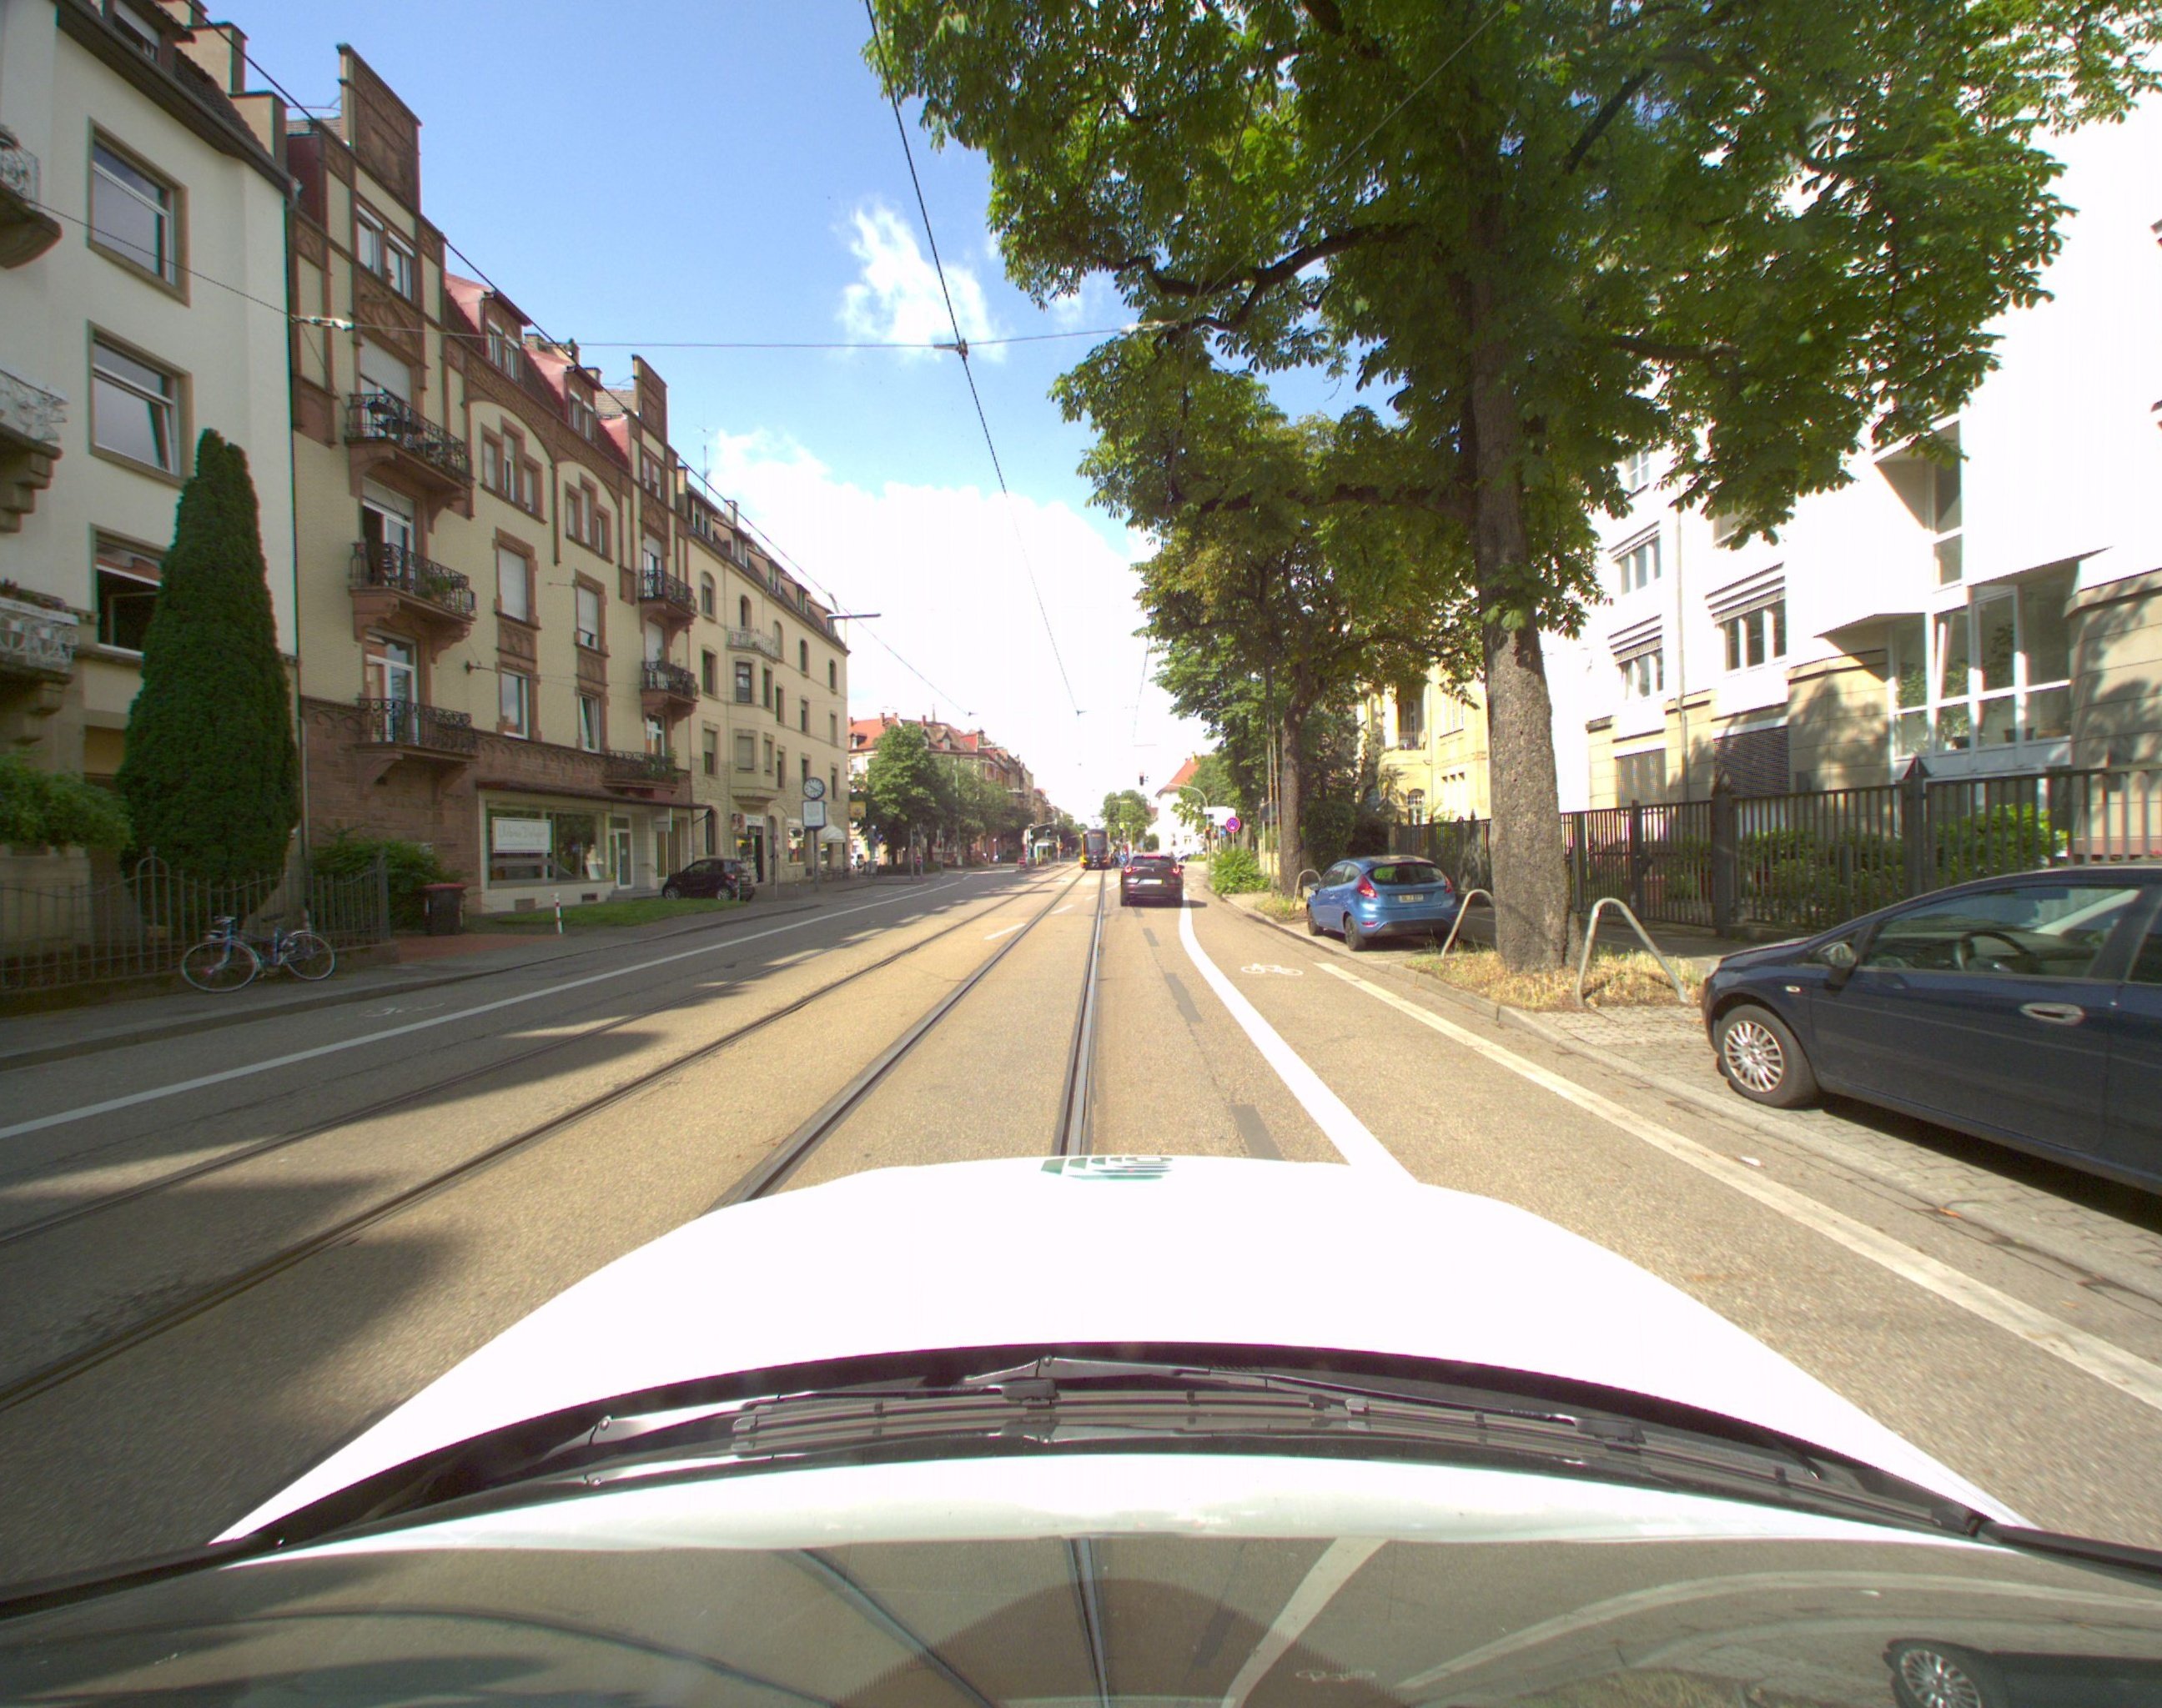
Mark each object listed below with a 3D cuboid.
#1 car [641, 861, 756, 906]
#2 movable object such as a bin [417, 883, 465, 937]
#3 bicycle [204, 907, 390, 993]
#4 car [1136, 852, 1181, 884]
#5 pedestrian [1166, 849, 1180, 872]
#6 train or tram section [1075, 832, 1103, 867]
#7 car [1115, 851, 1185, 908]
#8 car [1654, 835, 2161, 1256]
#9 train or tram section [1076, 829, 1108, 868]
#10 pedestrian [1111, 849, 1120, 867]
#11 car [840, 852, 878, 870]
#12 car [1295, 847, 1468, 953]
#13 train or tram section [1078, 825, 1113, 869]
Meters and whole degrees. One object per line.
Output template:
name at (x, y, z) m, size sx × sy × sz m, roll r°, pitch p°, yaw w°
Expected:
car at (-13.373, 0.996, 28.577) m, size 3.221 × 1.513 × 1.681 m, roll 0°, pitch 0°, yaw 4°
movable object such as a bin at (-13.288, 1.148, 16.910) m, size 0.589 × 1.069 × 0.611 m, roll 1°, pitch 0°, yaw 35°
bicycle at (-10.426, 1.238, 10.933) m, size 0.508 × 0.959 × 1.819 m, roll 1°, pitch -1°, yaw 8°
car at (4.033, 0.684, 42.919) m, size 1.779 × 1.492 × 4.881 m, roll -2°, pitch 0°, yaw -1°
pedestrian at (6.416, 0.452, 56.575) m, size 0.872 × 1.605 × 0.631 m, roll -1°, pitch 0°, yaw 0°
train or tram section at (0.813, -0.434, 88.259) m, size 2.644 × 3.527 × 8.491 m, roll -2°, pitch 0°, yaw -1°
car at (1.976, 0.692, 24.478) m, size 1.783 × 1.512 × 4.351 m, roll -1°, pitch 0°, yaw 1°
car at (4.773, 0.694, 3.698) m, size 1.634 × 1.496 × 3.757 m, roll -3°, pitch 0°, yaw 0°
train or tram section at (0.996, -0.494, 79.764) m, size 2.644 × 3.527 × 8.491 m, roll -2°, pitch 0°, yaw -1°
pedestrian at (3.119, 0.387, 73.617) m, size 0.665 × 1.605 × 0.700 m, roll -1°, pitch 0°, yaw 0°
car at (-28.809, 0.922, 105.713) m, size 4.093 × 2.013 × 2.006 m, roll -5°, pitch 0°, yaw 11°
car at (5.030, 0.691, 14.186) m, size 1.618 × 1.496 × 3.849 m, roll -4°, pitch 0°, yaw 2°
train or tram section at (1.176, -0.555, 71.251) m, size 2.644 × 3.527 × 8.491 m, roll -2°, pitch 0°, yaw -1°
